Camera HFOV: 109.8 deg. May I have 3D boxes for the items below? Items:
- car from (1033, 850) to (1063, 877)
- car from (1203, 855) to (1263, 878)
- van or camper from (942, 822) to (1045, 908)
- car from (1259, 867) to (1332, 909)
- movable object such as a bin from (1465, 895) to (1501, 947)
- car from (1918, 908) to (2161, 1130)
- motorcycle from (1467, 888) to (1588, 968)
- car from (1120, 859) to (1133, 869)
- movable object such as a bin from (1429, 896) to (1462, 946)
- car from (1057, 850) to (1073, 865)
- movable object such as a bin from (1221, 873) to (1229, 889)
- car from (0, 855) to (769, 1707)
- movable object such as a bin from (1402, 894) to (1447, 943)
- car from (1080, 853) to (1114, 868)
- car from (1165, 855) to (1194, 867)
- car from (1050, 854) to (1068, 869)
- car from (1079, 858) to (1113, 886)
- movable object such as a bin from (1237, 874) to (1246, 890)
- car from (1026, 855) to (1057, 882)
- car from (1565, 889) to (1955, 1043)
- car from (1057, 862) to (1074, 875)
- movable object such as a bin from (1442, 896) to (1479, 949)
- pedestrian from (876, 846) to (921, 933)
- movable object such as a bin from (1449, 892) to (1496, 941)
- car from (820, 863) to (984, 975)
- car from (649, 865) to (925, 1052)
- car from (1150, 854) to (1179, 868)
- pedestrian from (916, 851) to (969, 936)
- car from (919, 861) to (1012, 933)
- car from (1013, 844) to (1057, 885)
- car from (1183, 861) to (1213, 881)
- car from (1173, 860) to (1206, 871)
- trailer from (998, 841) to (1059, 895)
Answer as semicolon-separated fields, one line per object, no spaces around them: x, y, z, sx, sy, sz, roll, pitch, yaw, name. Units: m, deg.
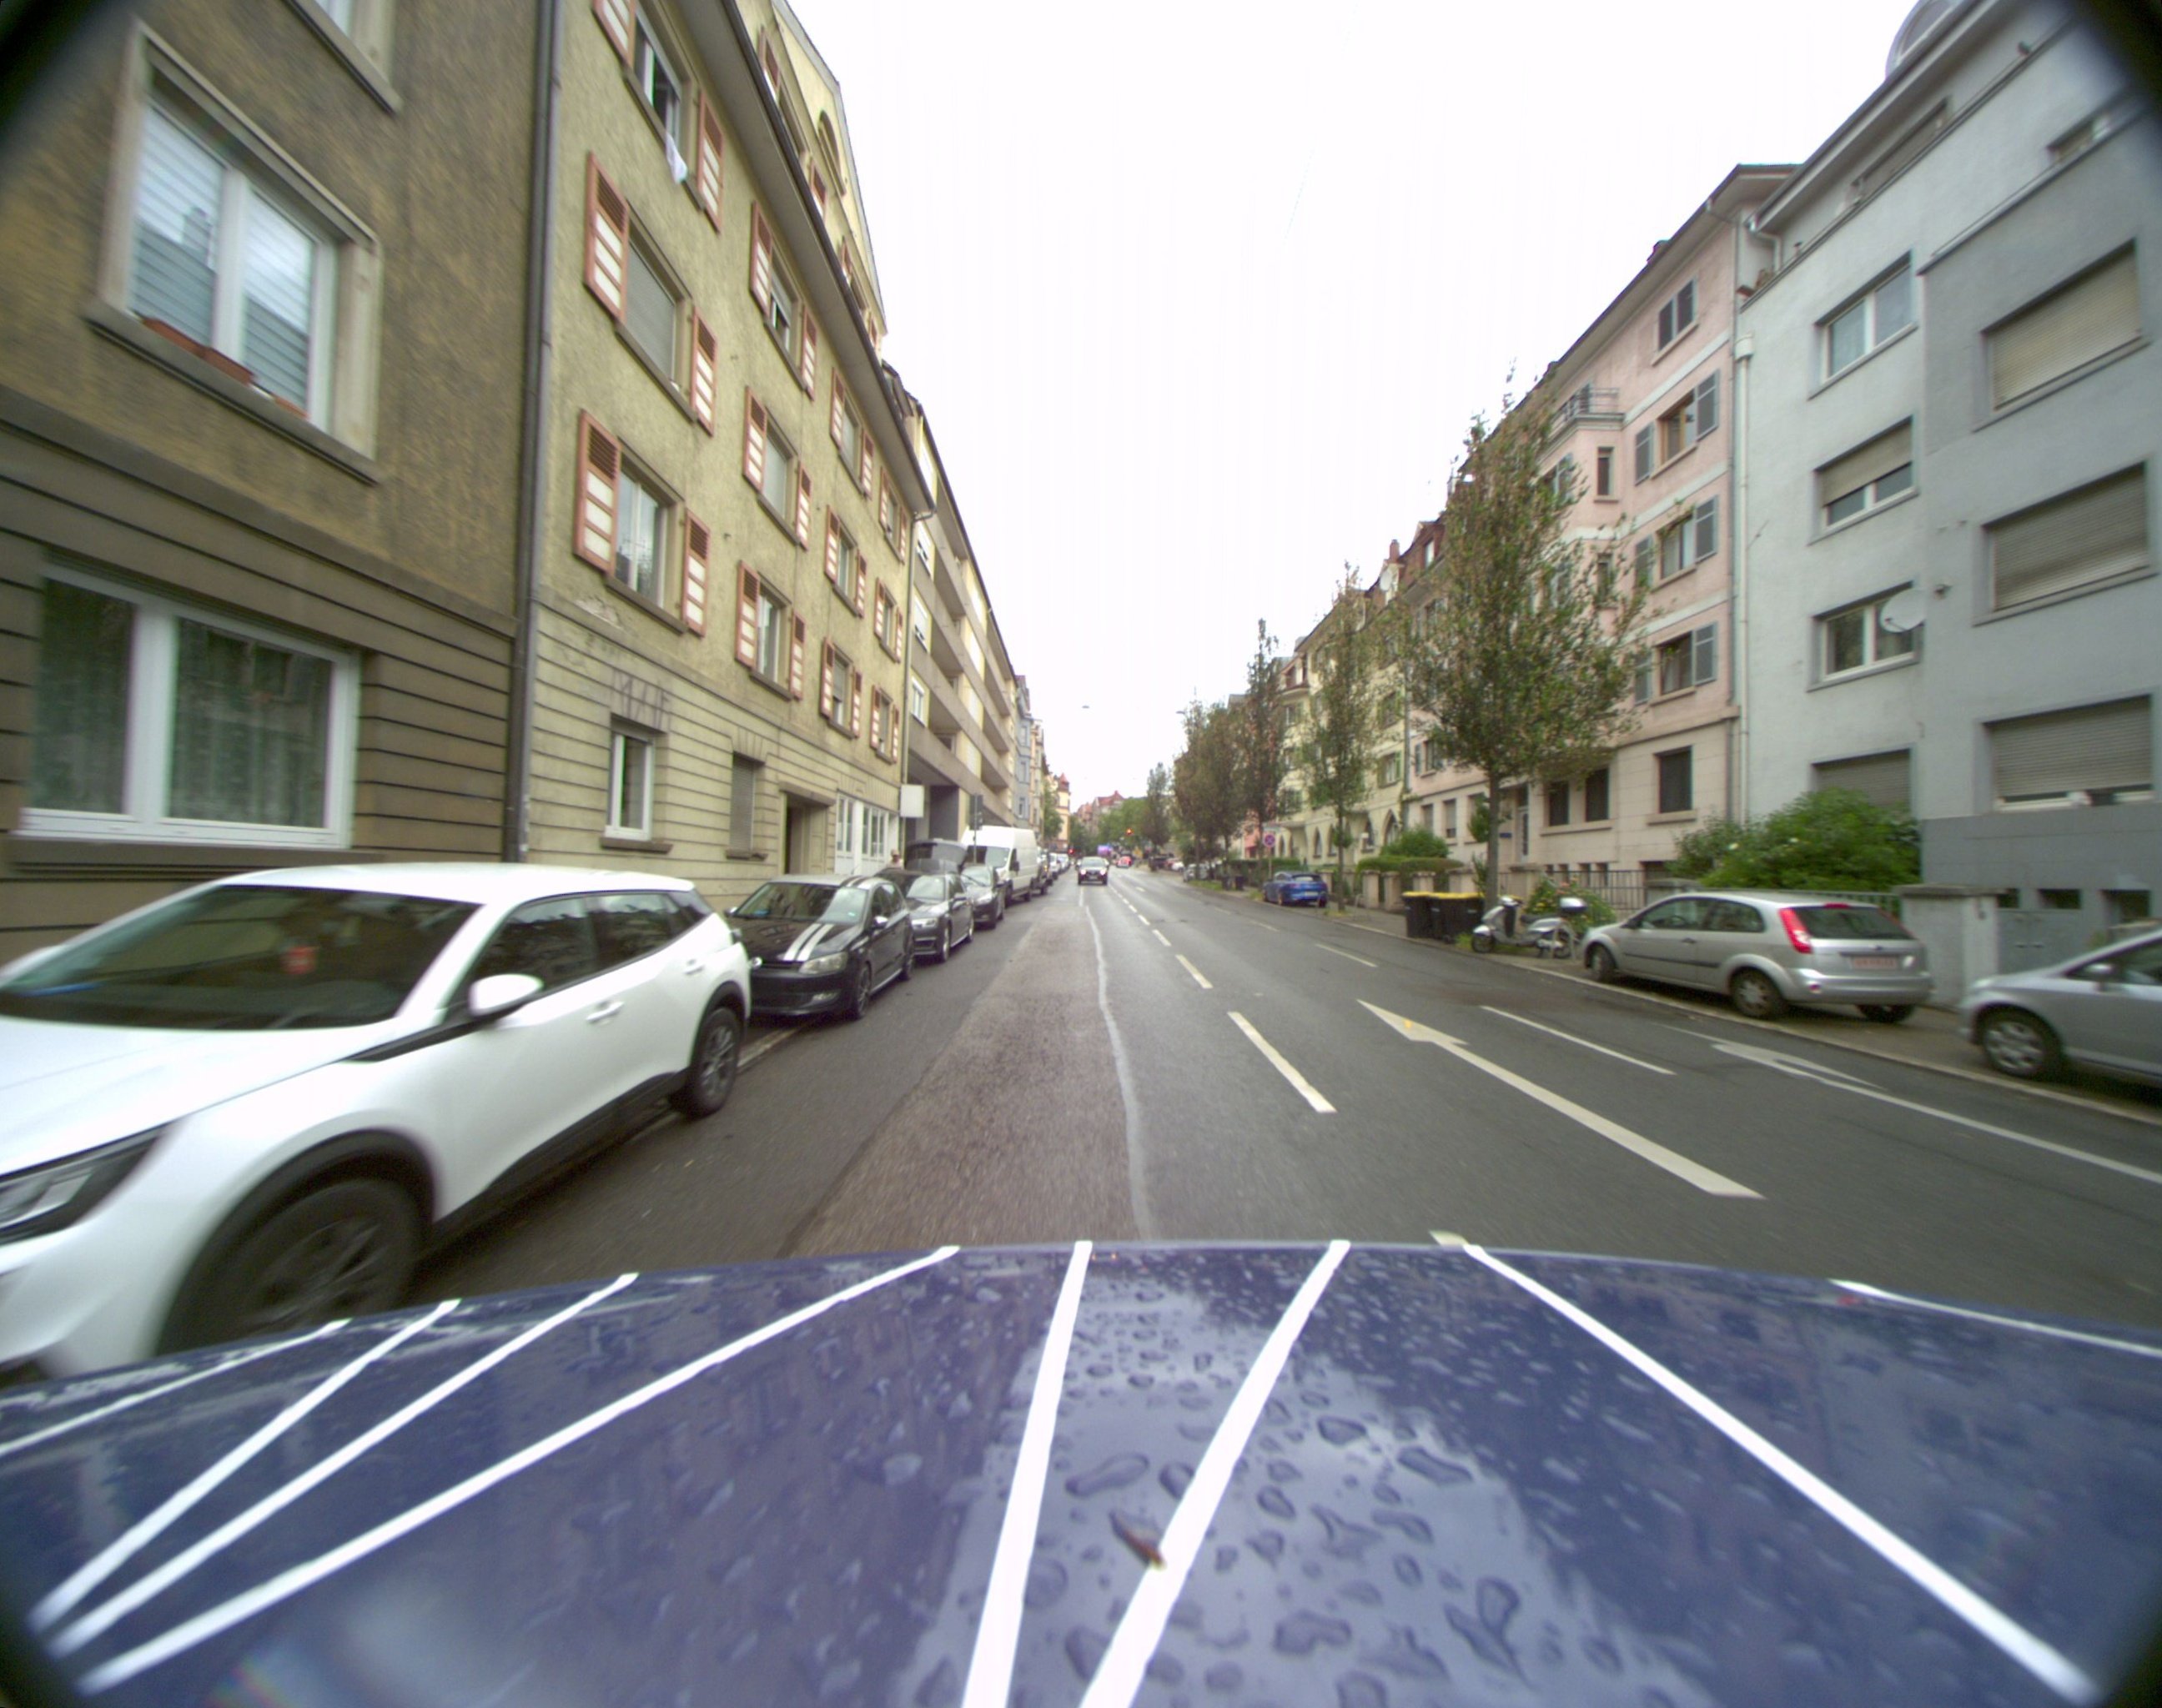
-2.467;0.690;58.178;1.994;1.944;4.822;2;0;0;car
13.040;1.021;65.231;4.731;1.894;1.918;0;1;-2;car
-2.952;0.365;27.406;2.188;2.683;6.423;2;0;7;van or camper
8.667;1.323;31.082;1.683;1.378;4.602;1;1;0;car
8.729;1.449;16.511;0.472;1.052;0.483;-2;1;-9;movable object such as a bin
8.515;1.266;5.110;1.604;1.443;3.888;1;1;4;car
8.315;1.343;14.200;1.806;1.307;0.743;2;0;42;motorcycle
7.096;1.577;119.390;1.772;1.540;3.652;0;1;0;car
8.189;1.506;17.082;0.472;1.052;0.483;-2;1;-9;movable object such as a bin
-2.058;0.427;96.267;1.826;1.808;4.520;2;0;1;car
8.272;1.556;43.671;0.365;0.884;0.572;-1;0;0;movable object such as a bin
-3.029;0.882;3.264;1.636;1.629;4.194;4;0;-1;car
7.980;1.495;17.664;0.827;1.052;0.483;-2;1;1;movable object such as a bin
1.724;0.694;81.388;1.665;1.464;3.660;1;2;45;car
13.787;0.953;106.561;3.928;1.613;1.592;2;1;1;car
-2.255;0.768;78.847;1.709;1.434;3.933;2;0;1;car
0.901;1.060;47.079;1.890;1.543;3.999;-2;1;-1;car
9.220;1.603;43.666;0.365;0.906;0.572;-1;1;0;movable object such as a bin
-2.576;0.910;50.345;1.751;1.630;4.273;2;0;0;car
8.443;1.278;10.004;1.605;1.388;3.886;1;1;0;car
-1.698;1.614;85.591;1.709;1.389;3.933;-2;0;1;car
8.145;1.458;16.312;0.526;1.052;0.482;-2;2;-21;movable object such as a bin
-3.886;0.742;16.177;0.688;1.777;0.711;2;2;-29;pedestrian
8.944;1.419;17.356;0.827;1.052;0.483;-1;1;1;movable object such as a bin
-2.903;0.976;13.369;1.782;1.471;4.587;1;1;0;car
-2.968;0.949;8.551;1.636;1.470;3.734;4;0;-1;car
12.055;0.969;109.466;3.930;1.836;1.867;2;1;-2;car
-2.903;0.822;15.942;0.630;1.681;0.637;9;2;36;pedestrian
-2.723;0.963;18.812;1.782;1.470;4.188;2;0;-3;car
-2.597;0.536;43.813;2.159;2.136;5.509;2;0;0;car
9.134;1.282;59.689;1.685;1.409;4.137;2;0;1;car
13.675;1.449;96.202;3.928;1.289;1.646;2;1;1;car
-2.270;0.626;34.142;1.998;2.139;5.074;3;-1;3;trailer
